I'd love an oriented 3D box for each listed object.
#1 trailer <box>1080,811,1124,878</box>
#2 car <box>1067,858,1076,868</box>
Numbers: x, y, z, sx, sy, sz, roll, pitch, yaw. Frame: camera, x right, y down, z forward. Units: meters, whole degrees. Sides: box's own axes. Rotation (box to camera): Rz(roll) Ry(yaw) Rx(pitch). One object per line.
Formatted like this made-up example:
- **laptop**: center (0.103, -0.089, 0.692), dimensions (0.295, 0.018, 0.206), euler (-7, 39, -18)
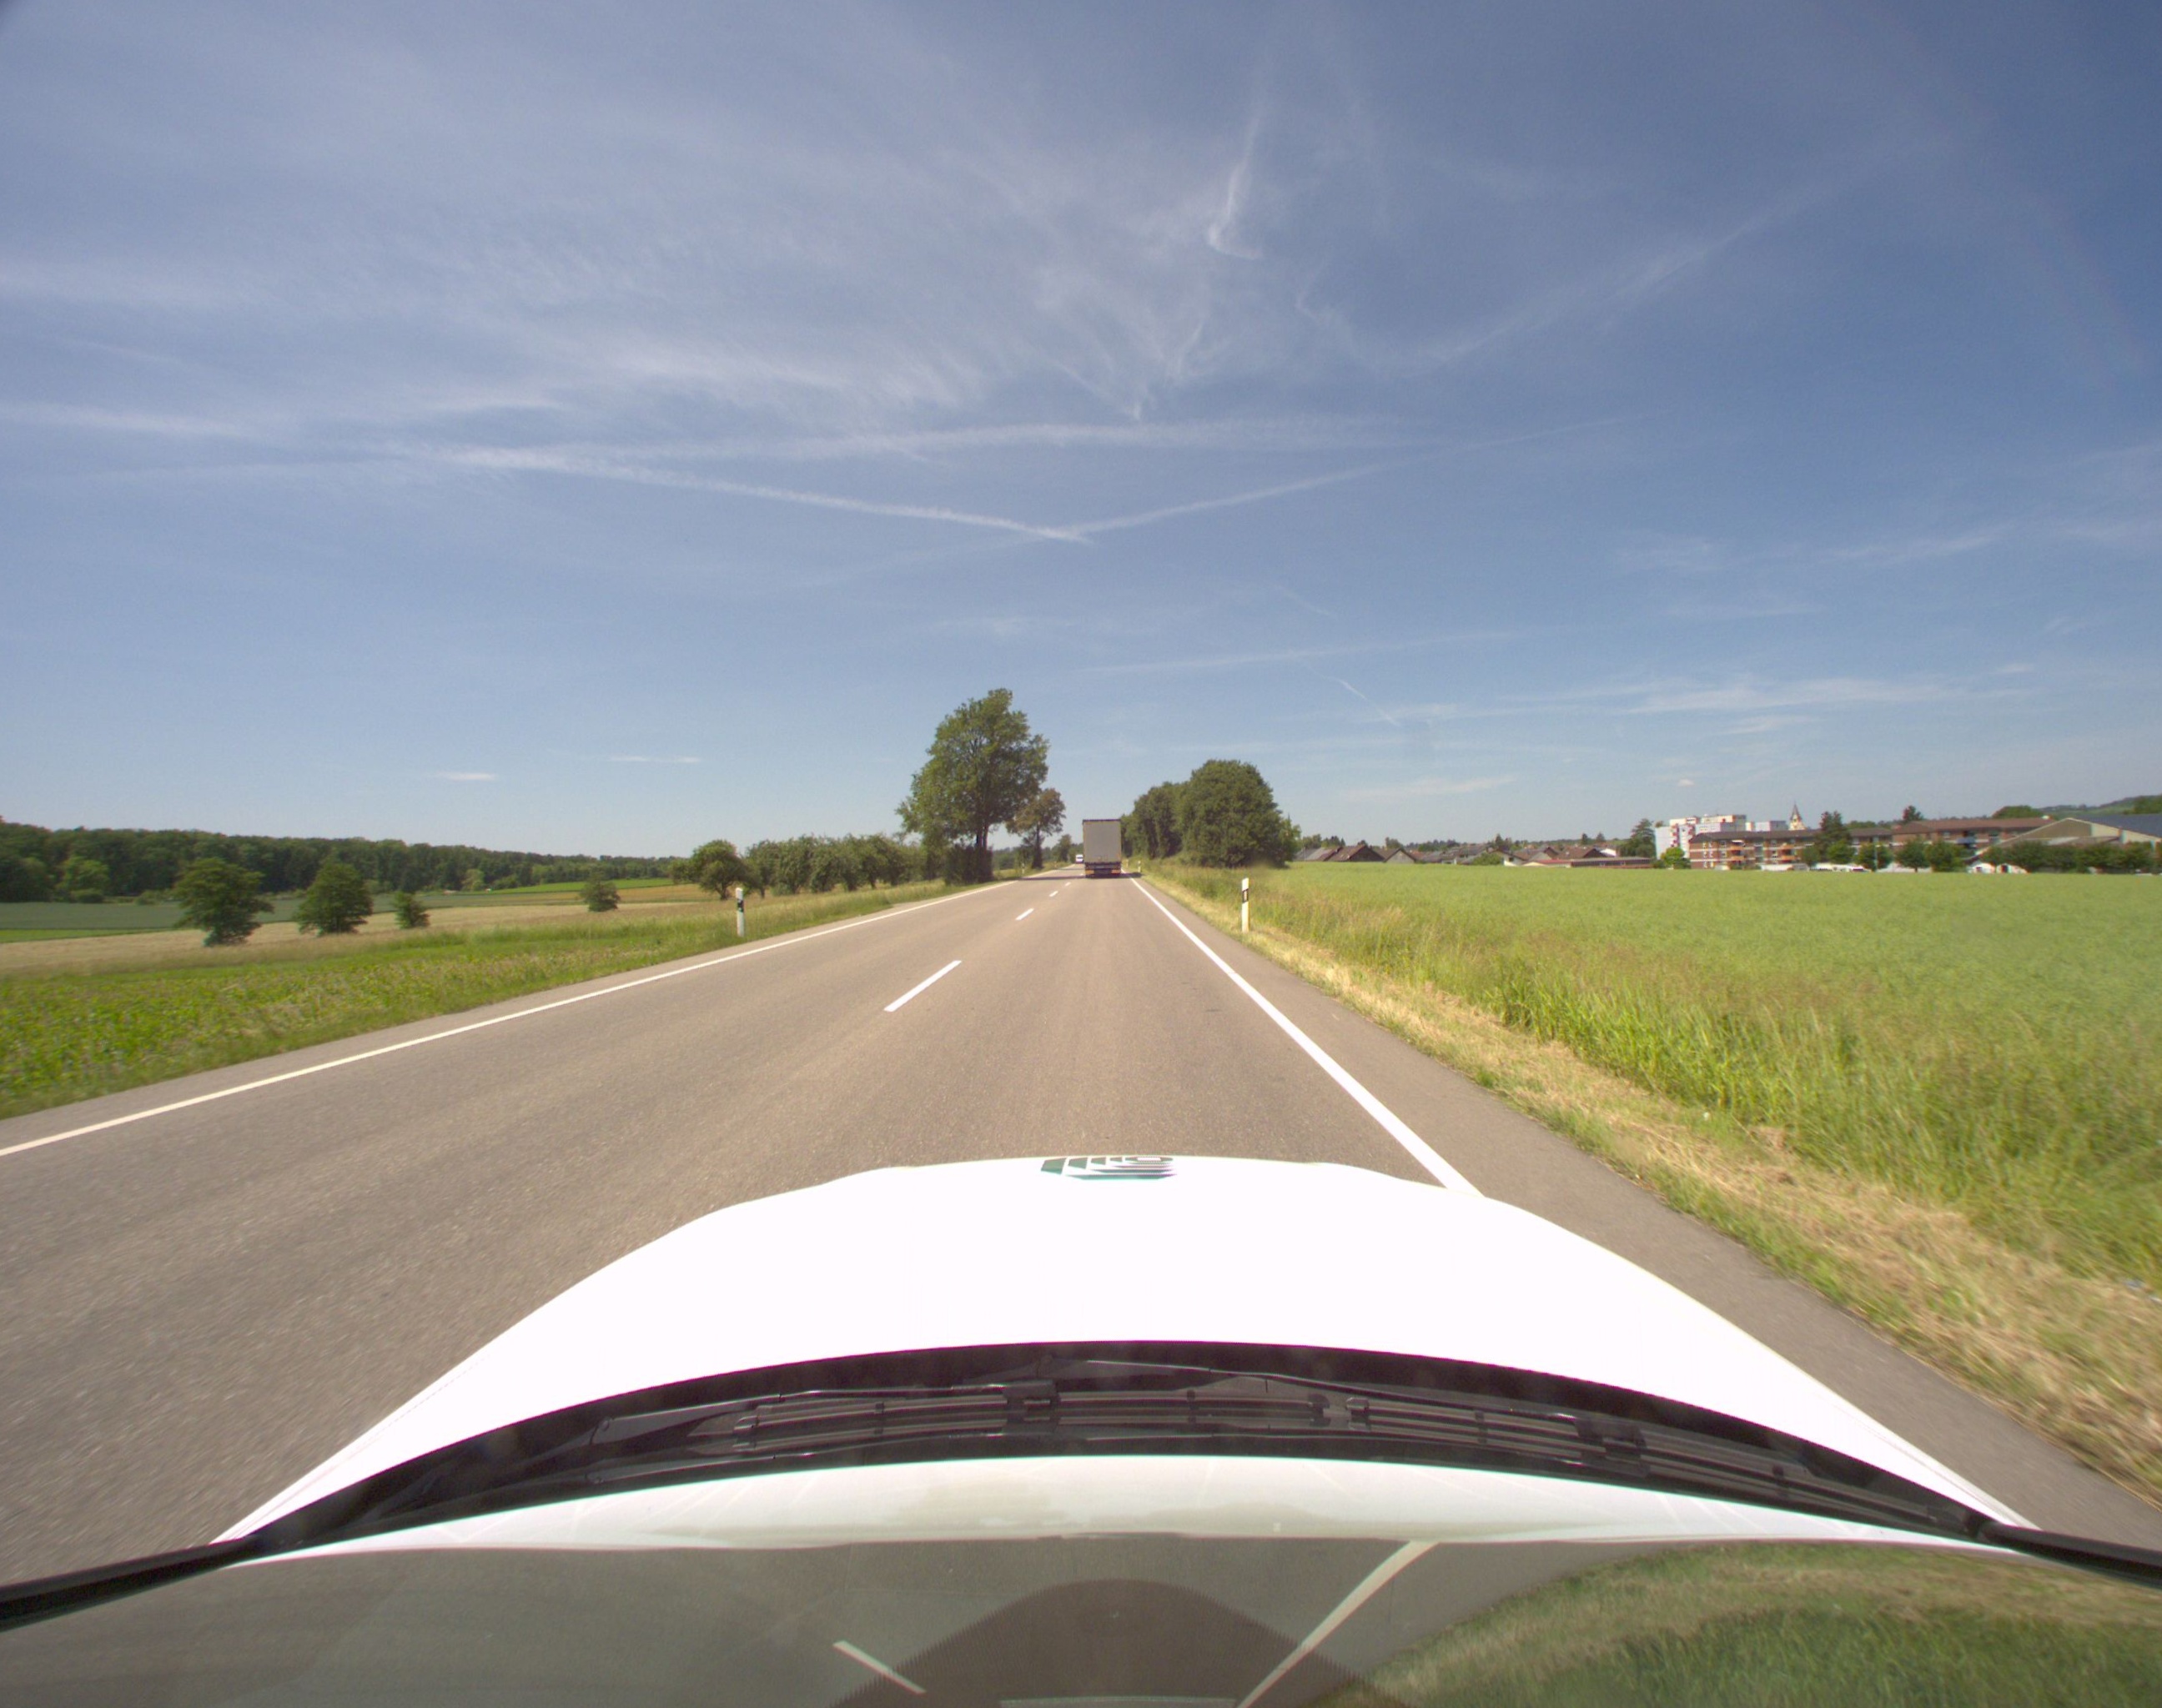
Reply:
- **trailer**: center (1.567, -0.601, 60.872), dimensions (2.856, 4.401, 13.496), euler (-1, 0, 1)
- **car**: center (-2.015, 1.806, 168.942), dimensions (1.867, 2.014, 4.073), euler (0, 0, 0)
